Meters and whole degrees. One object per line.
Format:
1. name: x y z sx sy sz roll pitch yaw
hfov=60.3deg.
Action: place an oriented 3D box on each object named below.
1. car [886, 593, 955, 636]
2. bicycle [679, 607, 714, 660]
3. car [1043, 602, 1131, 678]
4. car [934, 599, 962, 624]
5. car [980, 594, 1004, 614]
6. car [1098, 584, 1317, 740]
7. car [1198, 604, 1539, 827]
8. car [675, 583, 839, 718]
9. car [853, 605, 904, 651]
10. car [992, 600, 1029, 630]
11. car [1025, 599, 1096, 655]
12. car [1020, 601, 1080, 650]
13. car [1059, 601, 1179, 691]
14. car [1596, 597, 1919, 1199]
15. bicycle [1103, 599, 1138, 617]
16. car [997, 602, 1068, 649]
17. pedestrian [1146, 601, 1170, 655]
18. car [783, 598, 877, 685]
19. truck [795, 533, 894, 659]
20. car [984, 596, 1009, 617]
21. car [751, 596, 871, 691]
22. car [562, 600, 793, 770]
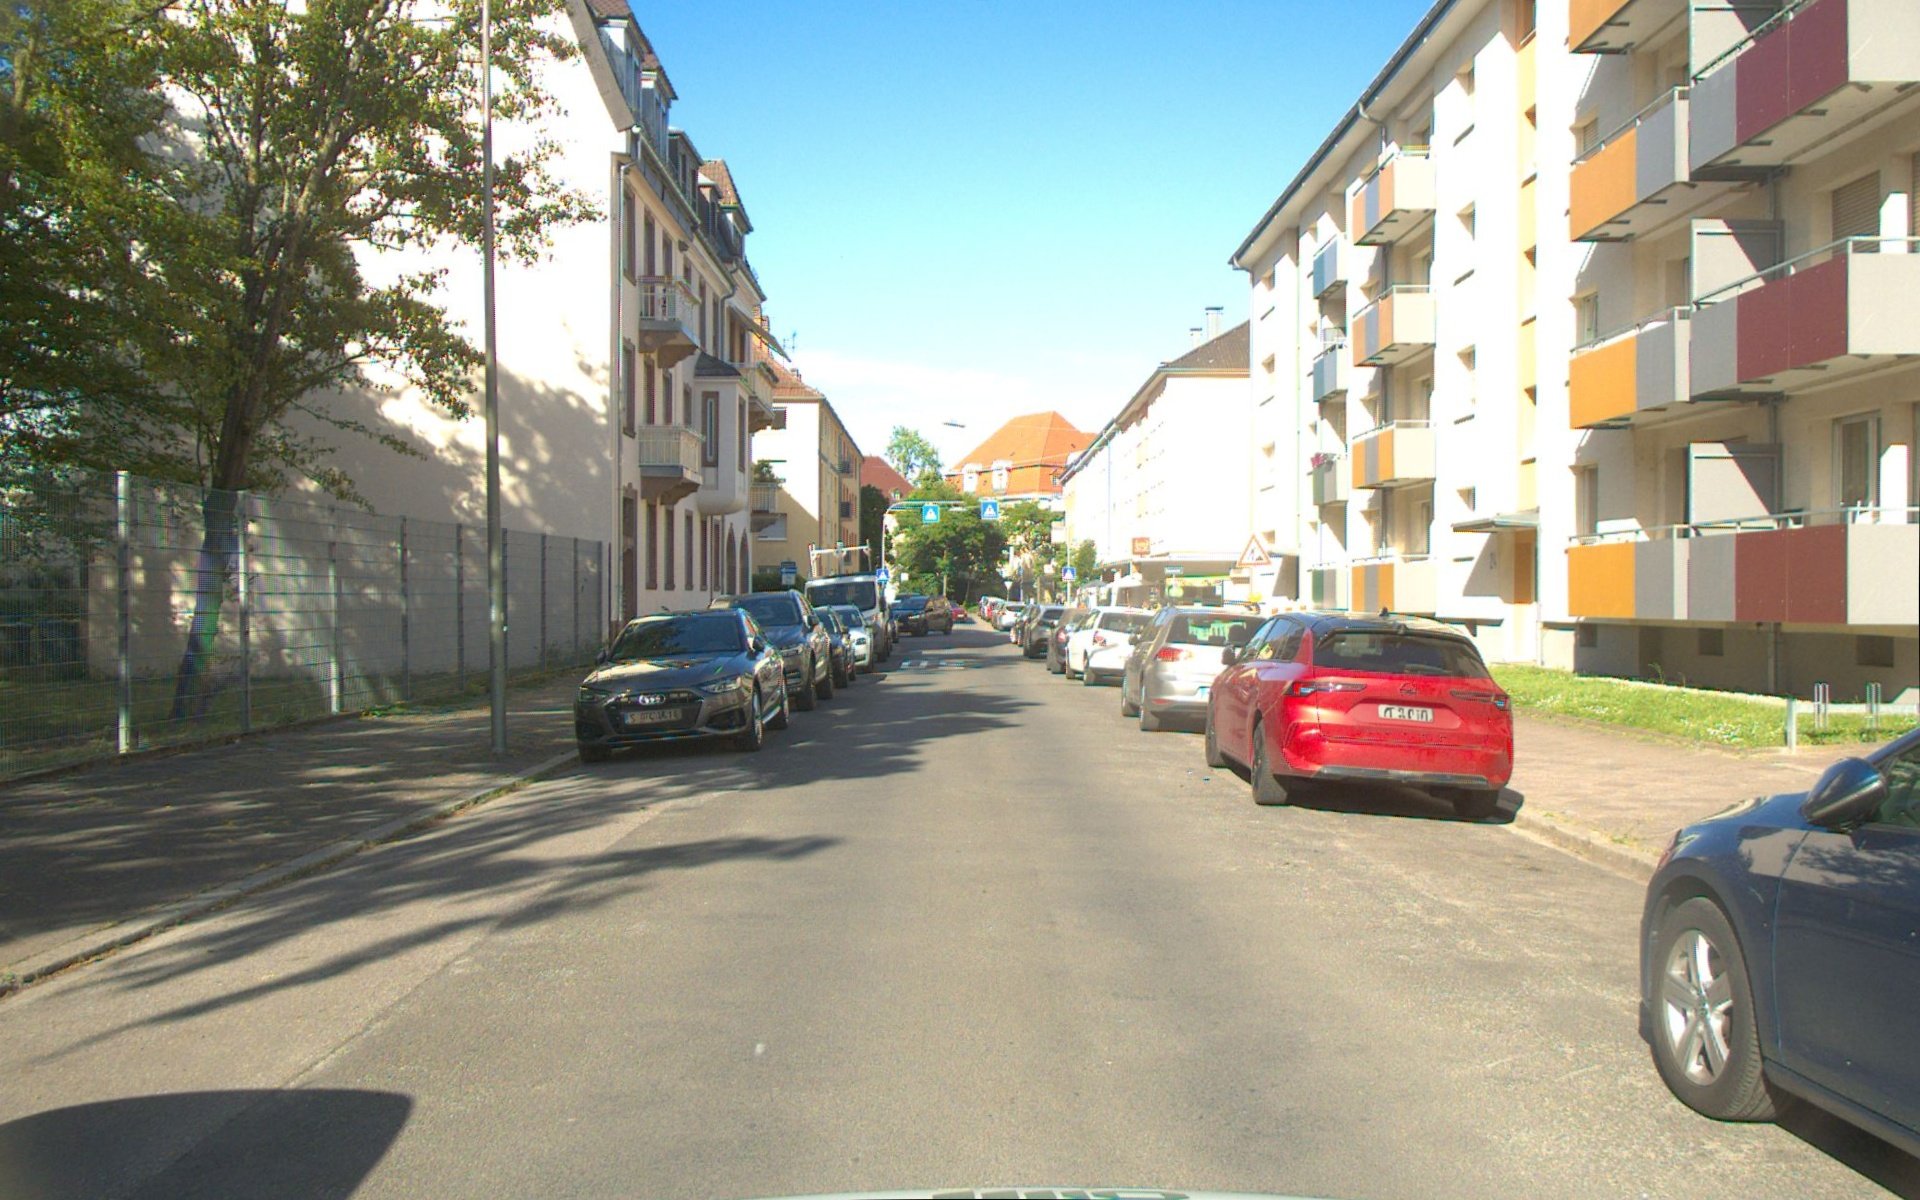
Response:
1. car: -1.560 0.552 67.624 1.782 1.662 4.260 -1 0 13
2. bicycle: -6.906 0.862 43.441 0.557 1.301 2.340 0 1 0
3. car: 2.769 0.848 36.702 1.653 1.492 3.583 2 0 0
4. car: -0.738 0.711 103.559 1.662 1.466 3.419 0 0 0
5. car: 2.362 0.283 122.367 1.604 1.466 3.418 0 0 -1
6. car: 2.933 0.684 20.570 1.860 1.650 4.601 2 0 -2
7. car: 3.045 0.774 13.290 1.716 1.469 4.523 0 0 1
8. car: -2.852 0.661 24.223 1.841 1.693 4.930 -3 0 -1
9. car: -2.910 0.993 59.684 1.670 1.440 4.372 -4 0 -3
10. car: 2.591 0.758 84.726 1.807 1.466 3.420 0 0 2
11. car: 2.764 0.731 46.174 1.755 1.497 4.339 0 0 0
12. car: 2.816 0.783 52.403 1.612 1.485 3.938 1 -1 -1
13. car: 3.004 0.832 31.939 1.653 1.488 3.817 5 0 -3
14. car: 3.068 0.754 3.513 1.717 1.507 4.078 0 0 -3
15. bicycle: 8.582 0.433 88.560 1.774 0.984 0.672 0 0 -11
16. car: 2.473 0.859 57.641 1.818 1.550 4.771 1 -1 -6
17. pedestrian: 5.426 0.768 45.289 0.563 1.458 0.472 -2 1 1
18. car: -2.806 0.862 36.585 1.757 1.567 4.639 -6 1 -2
19. truck: -2.941 -0.075 43.701 2.213 3.038 7.274 0 0 -1
20. car: 2.579 0.427 116.333 1.604 1.466 3.418 0 0 -1
21. car: -2.648 0.746 30.285 1.755 1.590 4.459 1 0 0
22. car: -2.851 0.790 17.620 1.758 1.496 4.500 -2 0 -2
